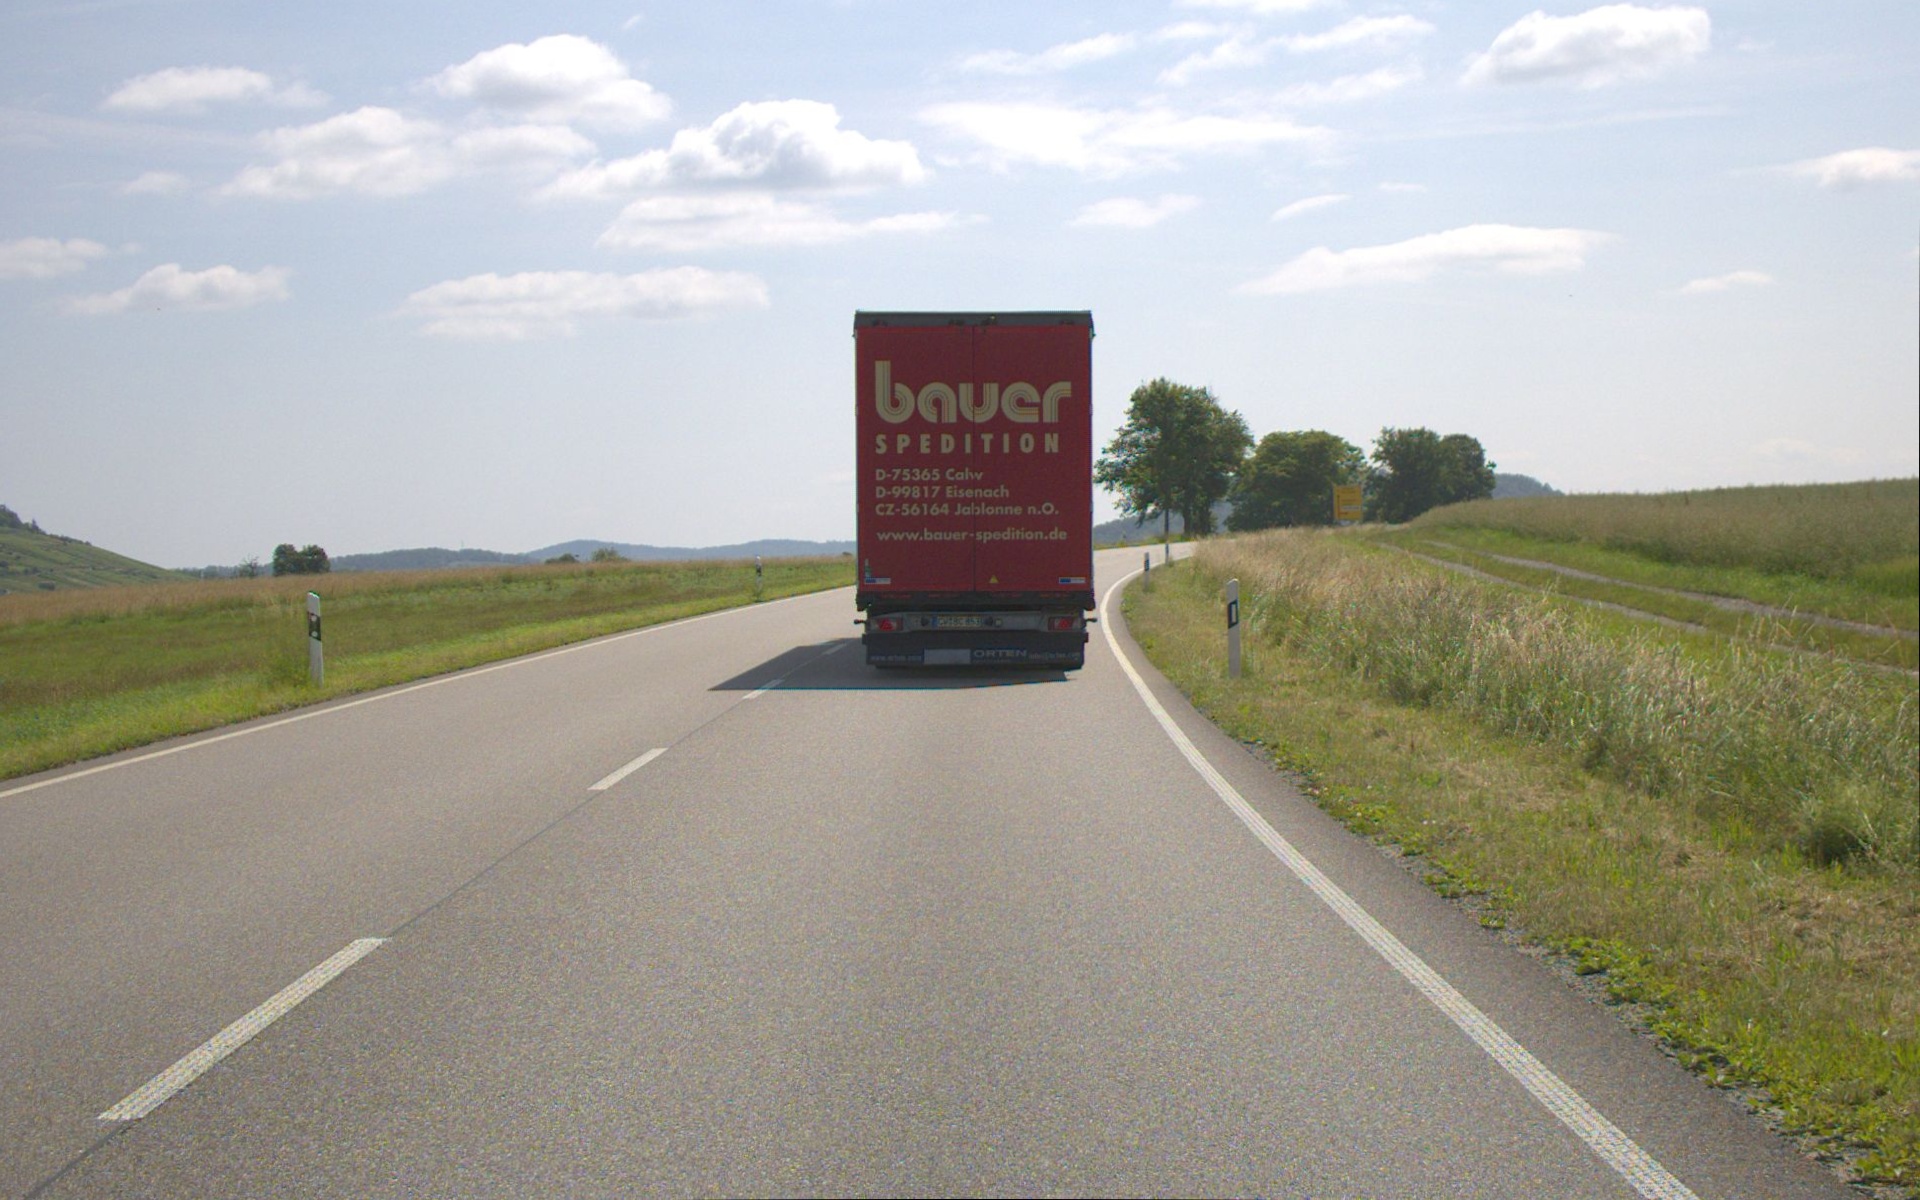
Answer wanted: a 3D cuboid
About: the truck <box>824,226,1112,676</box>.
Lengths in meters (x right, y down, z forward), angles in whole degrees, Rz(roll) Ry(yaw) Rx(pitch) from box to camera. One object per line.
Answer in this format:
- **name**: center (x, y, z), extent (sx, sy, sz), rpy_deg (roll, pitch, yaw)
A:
- **truck**: center (0.215, -1.652, 40.861), extent (2.975, 4.697, 9.366), rpy_deg (1, 1, 2)
